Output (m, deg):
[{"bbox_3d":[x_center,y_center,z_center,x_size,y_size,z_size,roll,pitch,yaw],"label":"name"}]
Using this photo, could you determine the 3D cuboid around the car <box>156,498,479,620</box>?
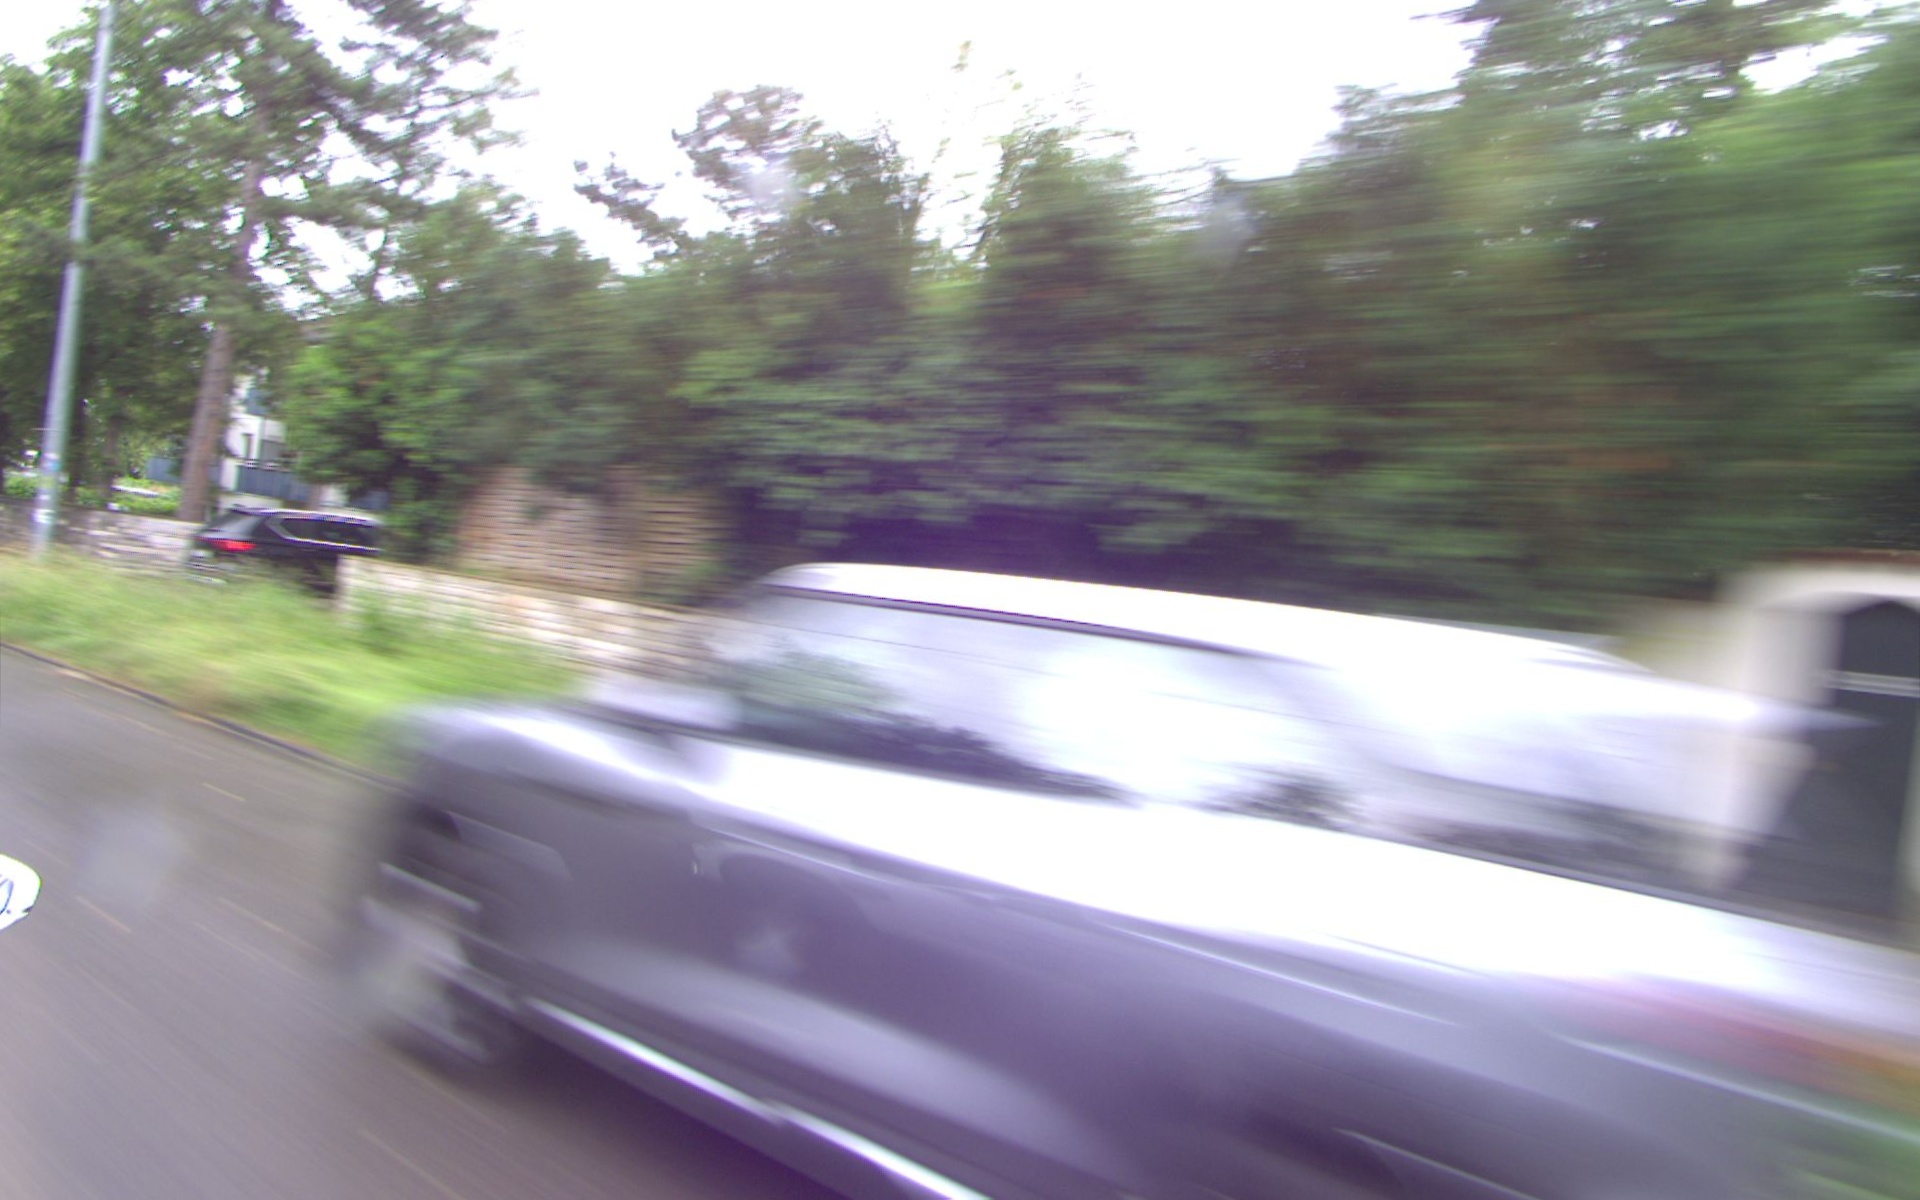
[{"bbox_3d":[-11.121,-0.645,17.734,1.967,1.704,4.310,6,1,32],"label":"car"}]

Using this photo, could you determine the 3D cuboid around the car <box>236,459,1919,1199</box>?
[{"bbox_3d":[-0.102,0.712,3.065,4.255,1.742,1.777,8,-2,32],"label":"car"}]
